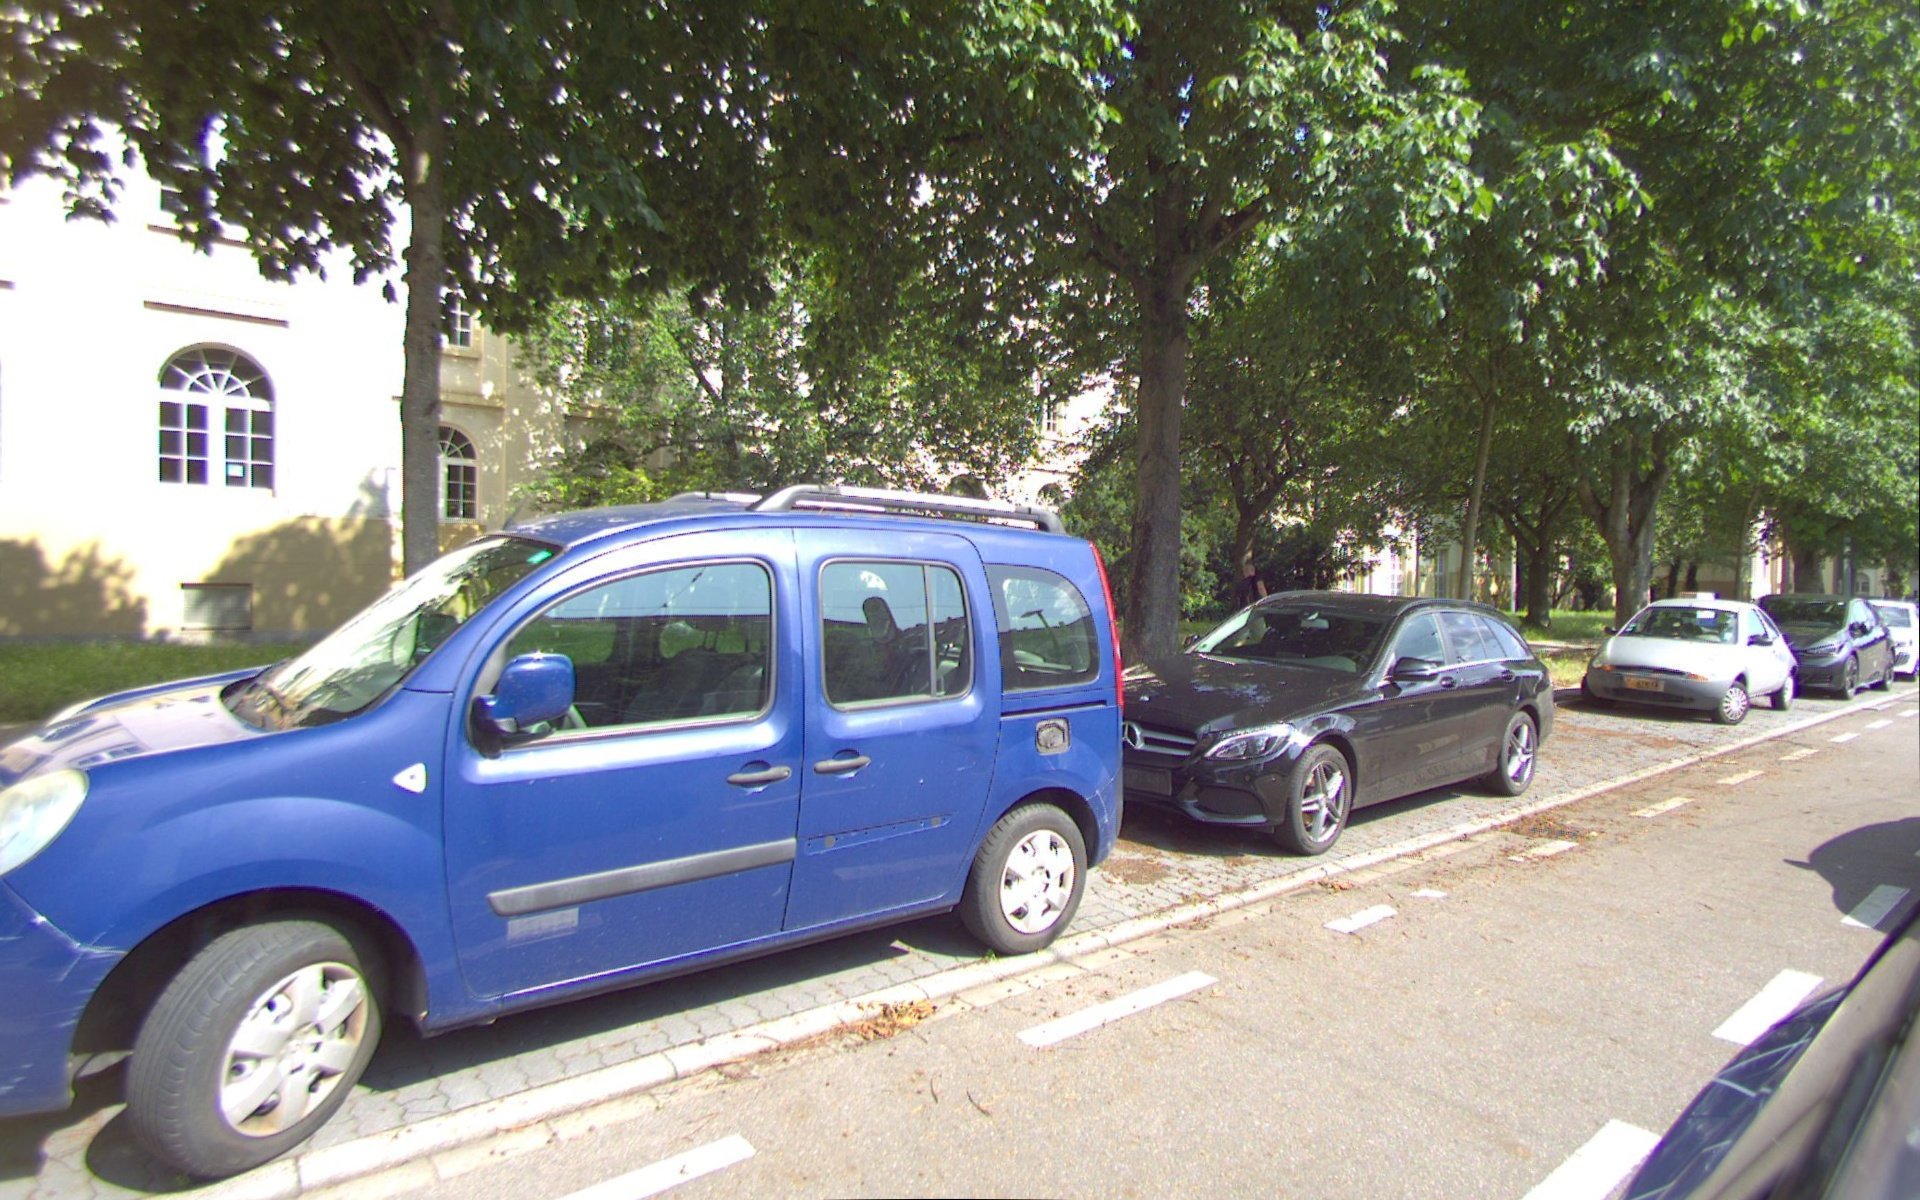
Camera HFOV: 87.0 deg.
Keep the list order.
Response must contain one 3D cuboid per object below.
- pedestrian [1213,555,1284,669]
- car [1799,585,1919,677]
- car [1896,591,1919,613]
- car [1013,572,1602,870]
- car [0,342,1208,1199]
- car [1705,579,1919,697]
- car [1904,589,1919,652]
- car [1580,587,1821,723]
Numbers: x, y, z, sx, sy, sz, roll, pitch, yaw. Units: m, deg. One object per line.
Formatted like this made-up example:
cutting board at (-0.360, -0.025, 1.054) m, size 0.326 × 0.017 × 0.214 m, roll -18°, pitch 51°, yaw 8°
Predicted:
pedestrian at (4.465, 0.170, 15.687) m, size 0.752 × 1.717 × 0.747 m, roll 0°, pitch 1°, yaw -32°
car at (18.089, 0.526, 19.835) m, size 4.179 × 1.542 × 1.839 m, roll 0°, pitch 4°, yaw -41°
car at (77.688, 0.205, 80.159) m, size 1.820 × 1.676 × 4.843 m, roll -1°, pitch 2°, yaw -28°
car at (2.795, 0.619, 7.495) m, size 4.711 × 1.459 × 1.922 m, roll 0°, pitch 3°, yaw -40°
car at (-1.115, 0.394, 3.956) m, size 4.106 × 1.919 × 1.828 m, roll 1°, pitch 2°, yaw -37°
car at (13.847, 0.521, 16.336) m, size 4.591 × 1.603 × 1.730 m, roll 0°, pitch 2°, yaw -38°
car at (24.817, 0.518, 25.160) m, size 3.497 × 1.478 × 1.559 m, roll -1°, pitch 5°, yaw -41°
car at (9.633, 0.598, 13.099) m, size 3.532 × 1.462 × 1.595 m, roll -1°, pitch 3°, yaw -38°
